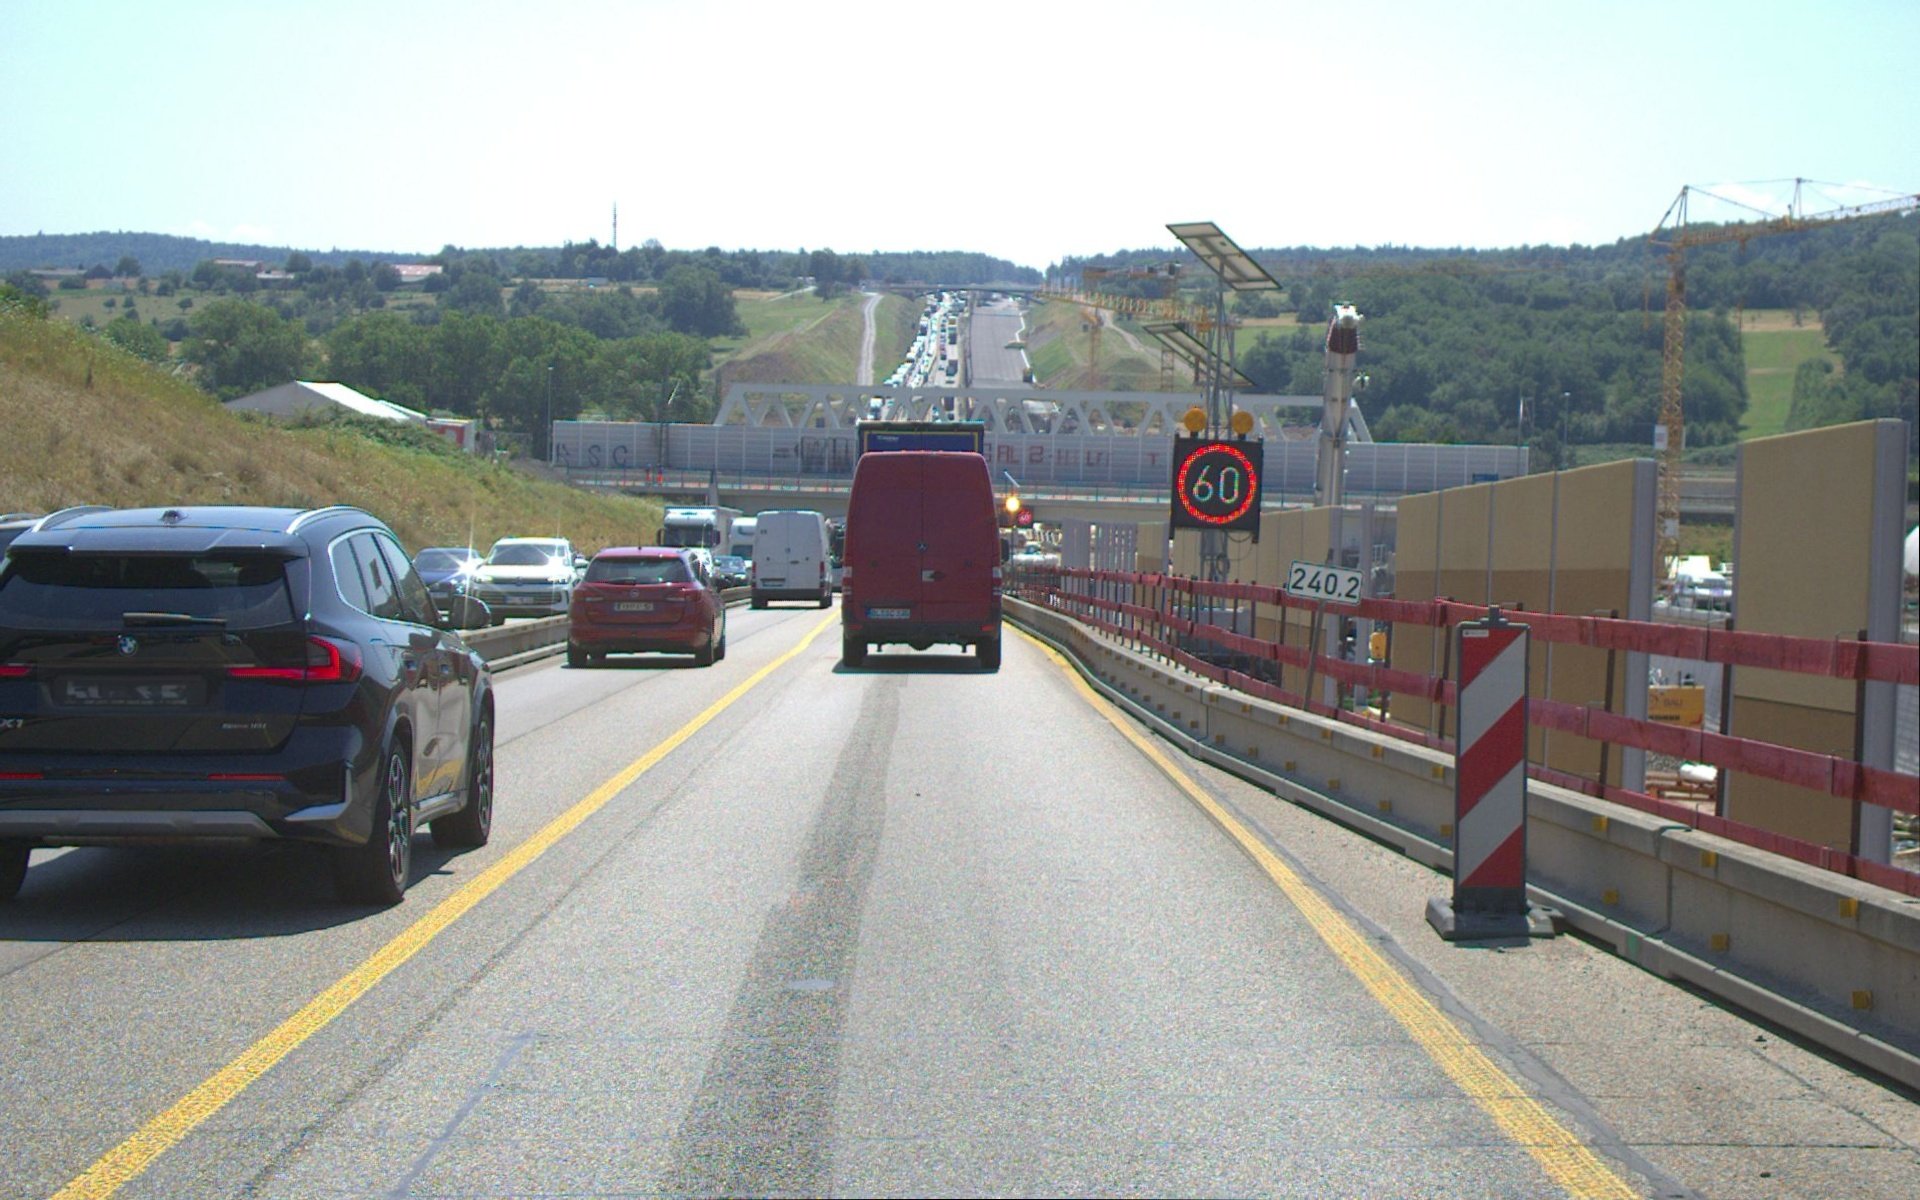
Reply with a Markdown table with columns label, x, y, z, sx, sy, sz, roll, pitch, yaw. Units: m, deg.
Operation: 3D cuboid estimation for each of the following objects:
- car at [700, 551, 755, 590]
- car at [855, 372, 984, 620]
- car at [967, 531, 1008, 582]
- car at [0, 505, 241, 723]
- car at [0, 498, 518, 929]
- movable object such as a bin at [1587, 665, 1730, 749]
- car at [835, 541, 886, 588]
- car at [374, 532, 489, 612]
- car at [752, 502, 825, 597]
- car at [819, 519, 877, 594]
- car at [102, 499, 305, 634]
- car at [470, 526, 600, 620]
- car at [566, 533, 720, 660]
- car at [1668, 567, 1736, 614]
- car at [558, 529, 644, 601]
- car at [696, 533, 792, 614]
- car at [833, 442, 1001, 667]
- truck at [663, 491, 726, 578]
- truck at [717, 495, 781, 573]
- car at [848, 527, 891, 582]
| label | x | y | z | sx | sy | sz | roll | pitch | yaw |
| --- | --- | --- | --- | --- | --- | --- | --- | --- | --- |
| car | -8.716 | -1.127 | 129.123 | 1.797 | 1.422 | 4.950 | 0 | 1 | -1 |
| car | -0.888 | -2.193 | 74.921 | 2.621 | 5.015 | 10.397 | 0 | 1 | -1 |
| car | 1.247 | -2.014 | 158.346 | 1.776 | 2.322 | 4.206 | 0 | 1 | -1 |
| car | -7.296 | 0.081 | 28.449 | 1.832 | 1.660 | 4.415 | 0 | 1 | -1 |
| car | -3.150 | 0.391 | 15.148 | 1.879 | 1.612 | 4.499 | 0 | 1 | -1 |
| movable object such as a bin | 23.804 | 3.612 | 117.628 | 3.163 | 2.437 | 7.895 | 3 | 0 | 0 |
| car | -3.608 | -1.292 | 124.822 | 1.776 | 1.664 | 4.029 | 0 | 1 | -1 |
| car | -11.012 | -0.599 | 71.919 | 1.684 | 1.580 | 5.127 | 1 | 1 | -1 |
| car | -4.482 | -1.318 | 90.335 | 1.776 | 2.433 | 4.206 | 0 | 1 | -1 |
| car | -3.573 | -1.401 | 109.980 | 1.776 | 2.322 | 4.206 | 0 | 1 | -1 |
| car | -11.346 | -0.530 | 51.927 | 2.038 | 1.919 | 5.122 | 0 | 1 | -1 |
| car | -7.740 | -0.519 | 63.017 | 1.839 | 1.648 | 5.372 | 0 | 1 | -1 |
| car | -3.931 | -0.075 | 43.164 | 1.775 | 1.512 | 4.207 | 0 | 1 | -3 |
| car | 33.376 | -0.434 | 154.759 | 1.805 | 2.007 | 4.826 | 1 | 1 | -3 |
| car | -9.048 | -0.896 | 86.834 | 1.776 | 1.784 | 4.206 | 0 | 1 | -1 |
| car | -4.477 | -0.585 | 71.823 | 1.839 | 1.648 | 4.165 | 0 | 1 | -1 |
| car | -0.543 | -0.583 | 43.317 | 1.988 | 2.681 | 4.624 | 0 | 1 | -1 |
| truck | -12.600 | -3.085 | 163.317 | 2.698 | 4.036 | 3.955 | 1 | 1 | -1 |
| truck | -9.467 | -2.953 | 154.954 | 2.538 | 3.362 | 7.038 | 1 | 1 | -1 |
| car | -3.829 | -1.942 | 146.234 | 1.776 | 2.322 | 4.206 | 0 | 1 | -1 |
